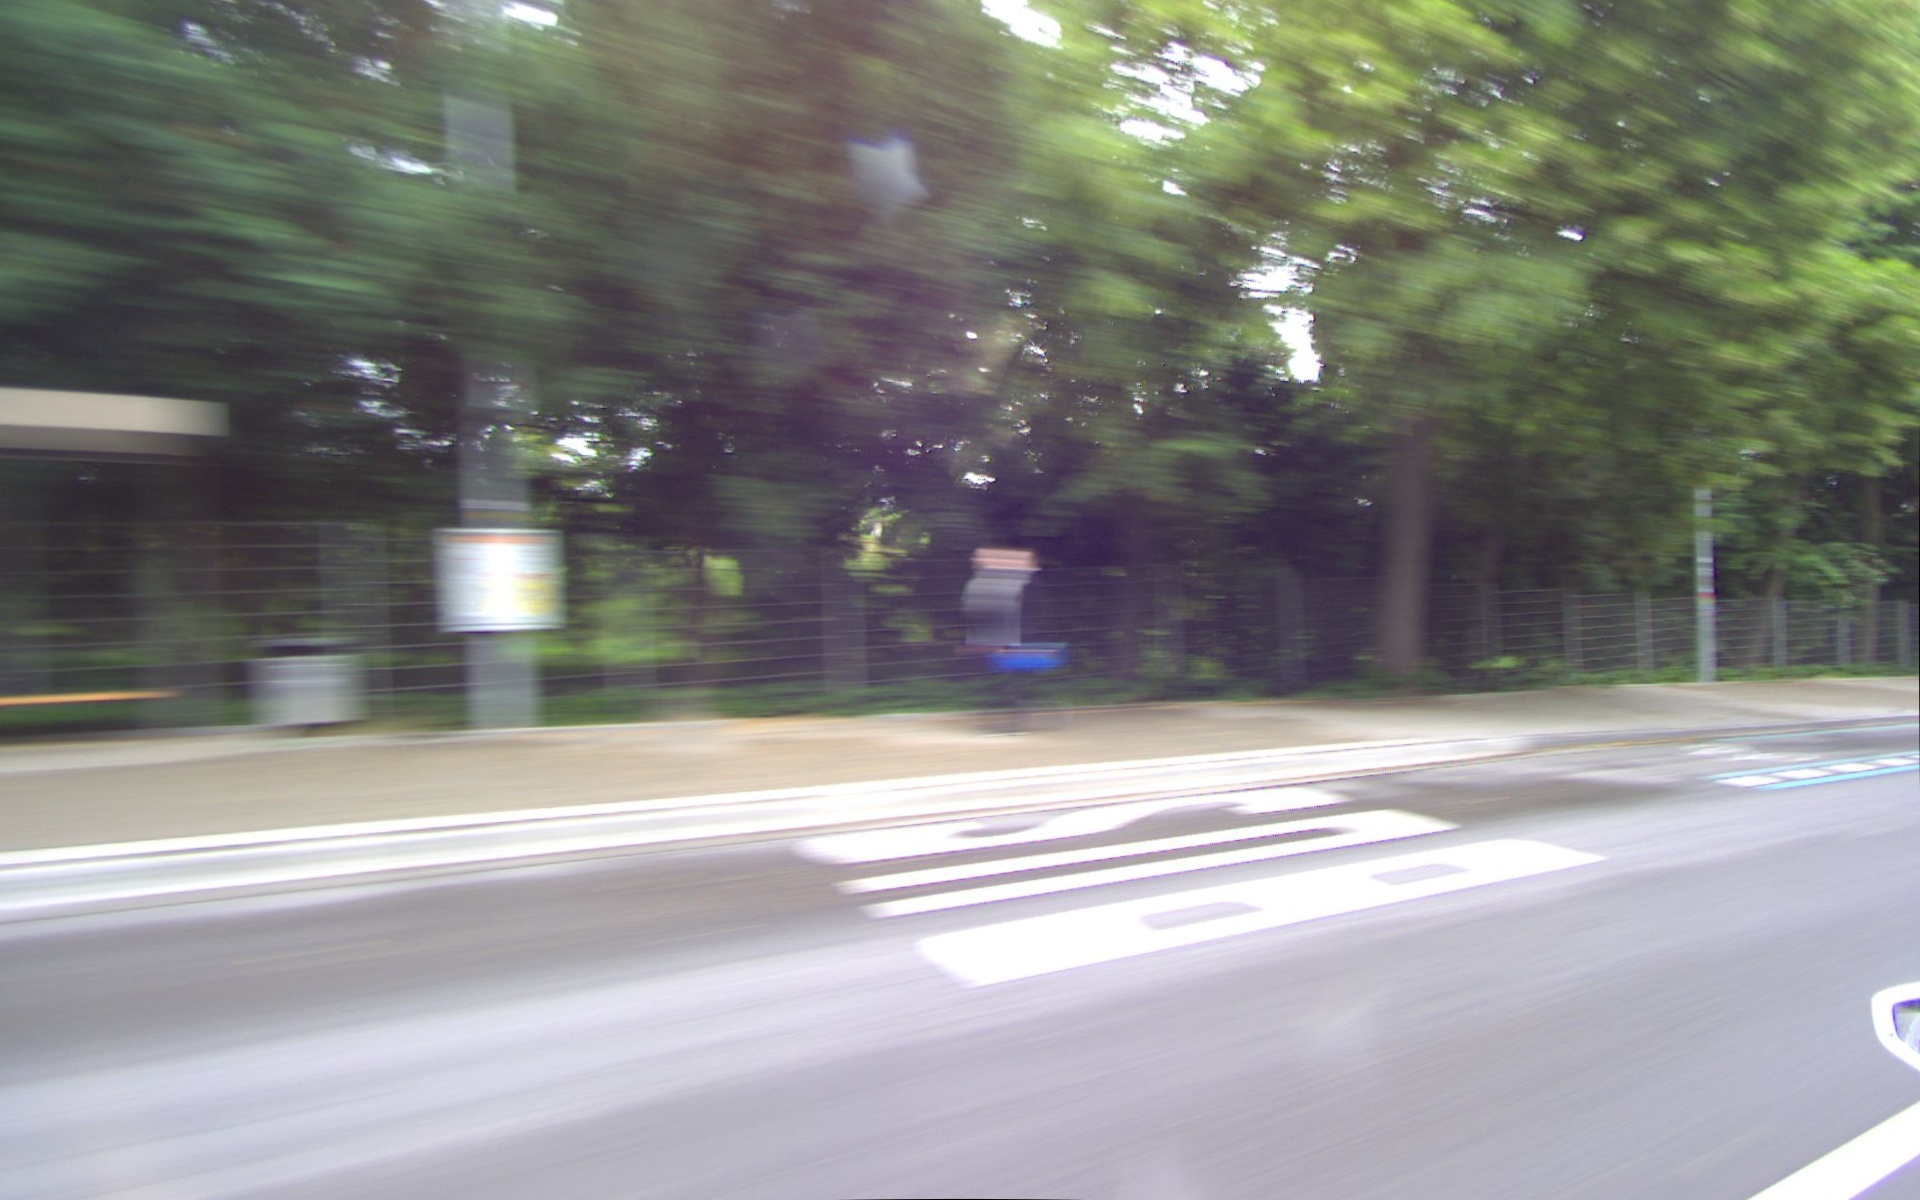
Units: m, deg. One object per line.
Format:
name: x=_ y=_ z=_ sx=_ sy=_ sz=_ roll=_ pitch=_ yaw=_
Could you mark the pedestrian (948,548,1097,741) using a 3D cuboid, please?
pedestrian: x=0.610 y=0.407 z=9.815 sx=1.133 sy=1.756 sz=0.882 roll=1 pitch=1 yaw=-33
